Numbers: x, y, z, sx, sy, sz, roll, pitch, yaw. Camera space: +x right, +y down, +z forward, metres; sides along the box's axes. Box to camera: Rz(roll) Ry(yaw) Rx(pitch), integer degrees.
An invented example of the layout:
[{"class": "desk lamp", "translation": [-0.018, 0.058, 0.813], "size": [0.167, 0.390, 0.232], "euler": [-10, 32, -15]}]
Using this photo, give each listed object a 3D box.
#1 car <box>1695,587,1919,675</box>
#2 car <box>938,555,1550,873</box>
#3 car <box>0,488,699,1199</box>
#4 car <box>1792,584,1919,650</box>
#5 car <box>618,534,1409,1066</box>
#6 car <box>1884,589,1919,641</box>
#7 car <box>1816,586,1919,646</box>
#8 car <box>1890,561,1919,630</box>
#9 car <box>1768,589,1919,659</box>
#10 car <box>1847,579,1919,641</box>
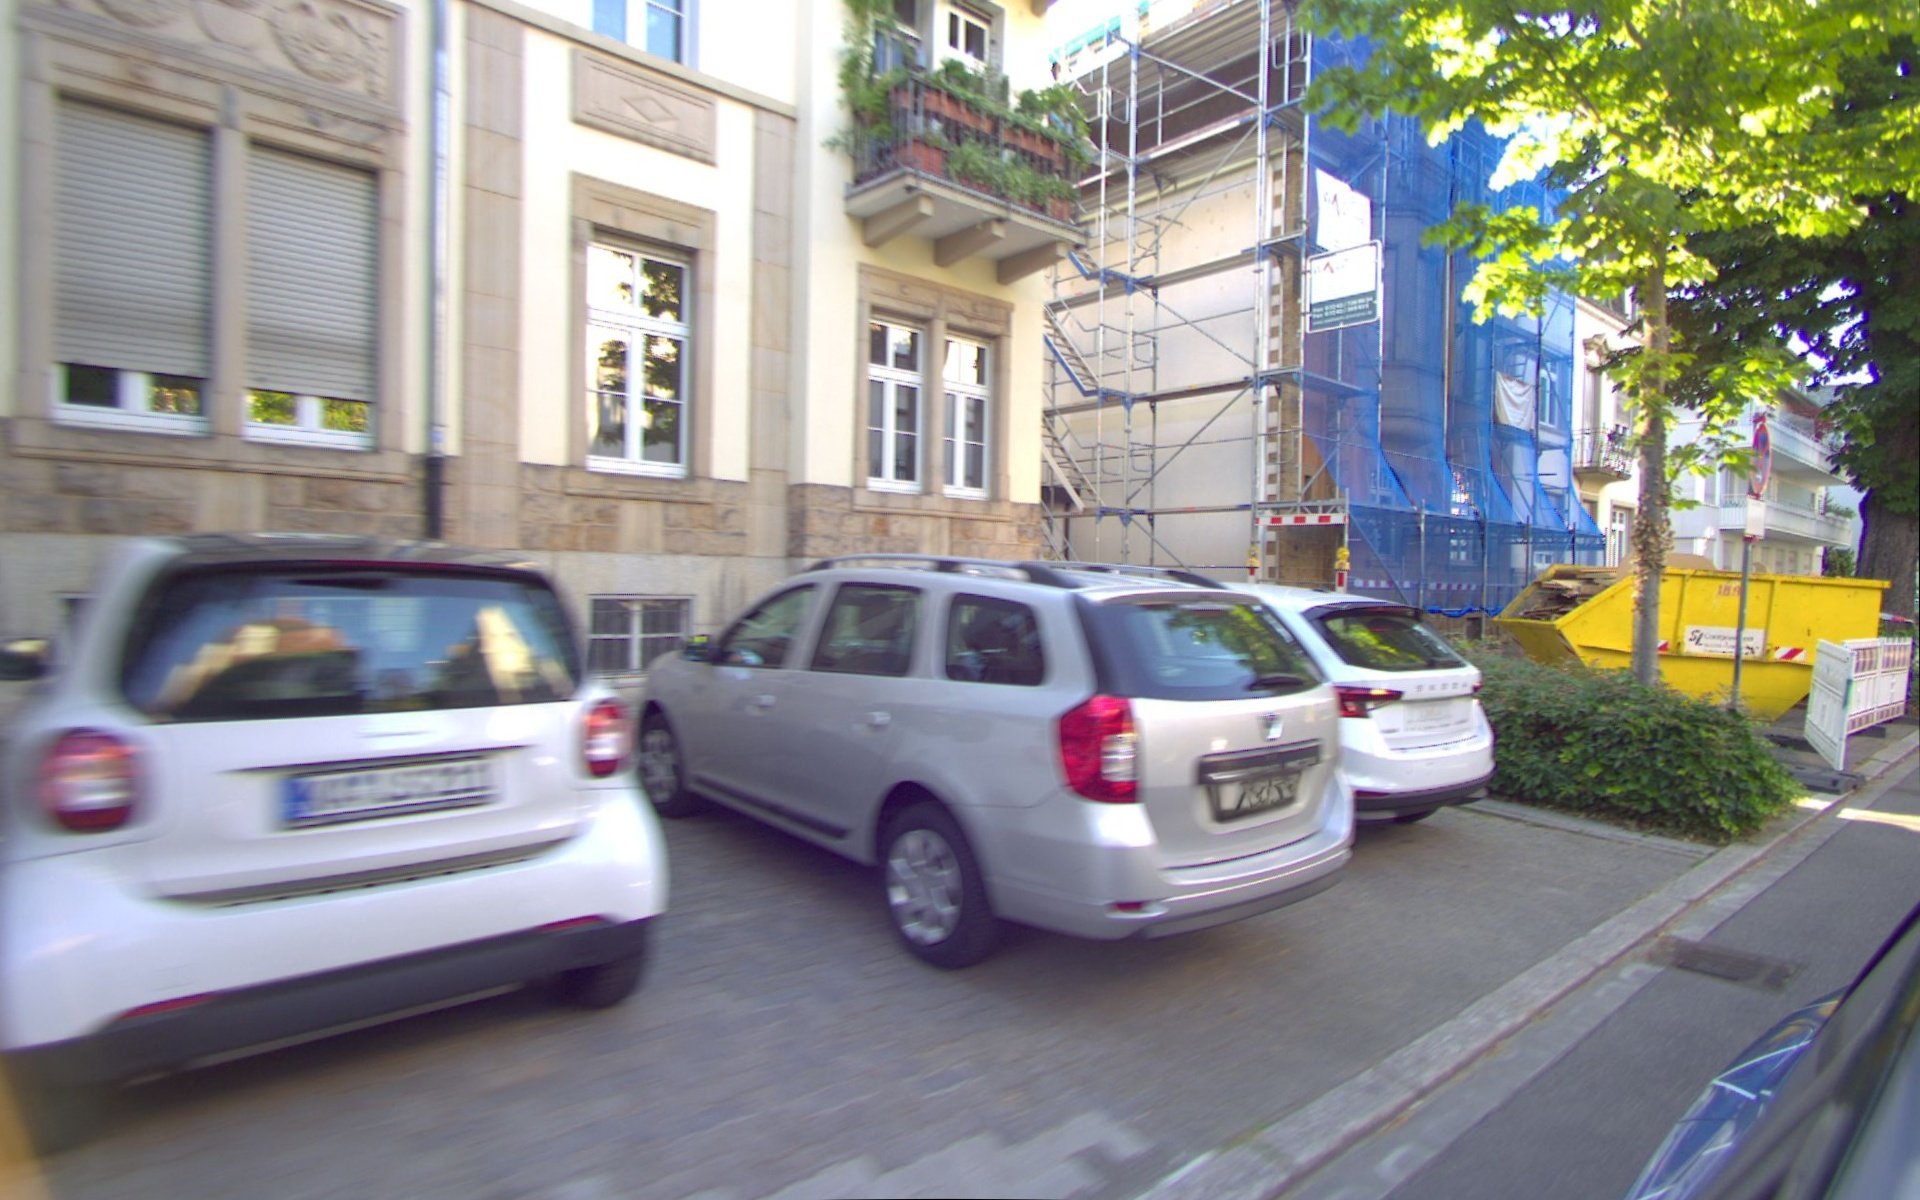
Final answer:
[{"class": "car", "translation": [18.061, 0.578, 21.138], "size": [1.817, 1.510, 3.998], "euler": [0, 3, -38]}, {"class": "car", "translation": [1.627, 0.496, 7.005], "size": [1.655, 1.480, 3.866], "euler": [1, 3, -35]}, {"class": "car", "translation": [-2.905, 0.423, 4.213], "size": [1.796, 1.553, 4.324], "euler": [0, 3, -40]}, {"class": "car", "translation": [26.773, 0.509, 28.953], "size": [1.676, 1.703, 4.338], "euler": [1, 2, -43]}, {"class": "car", "translation": [-0.175, 0.492, 5.132], "size": [1.656, 1.553, 4.156], "euler": [1, 3, -38]}, {"class": "car", "translation": [34.737, 0.567, 34.917], "size": [4.174, 1.745, 1.739], "euler": [2, 2, 43]}, {"class": "car", "translation": [29.404, 0.517, 31.462], "size": [1.674, 1.703, 3.962], "euler": [1, 2, -37]}, {"class": "car", "translation": [42.421, -0.113, 42.229], "size": [2.041, 2.938, 5.102], "euler": [1, 2, -43]}, {"class": "car", "translation": [23.454, 0.609, 25.797], "size": [1.818, 1.558, 4.165], "euler": [0, 3, -41]}, {"class": "car", "translation": [32.760, 0.357, 33.837], "size": [1.864, 2.039, 4.476], "euler": [0, 1, -42]}]
